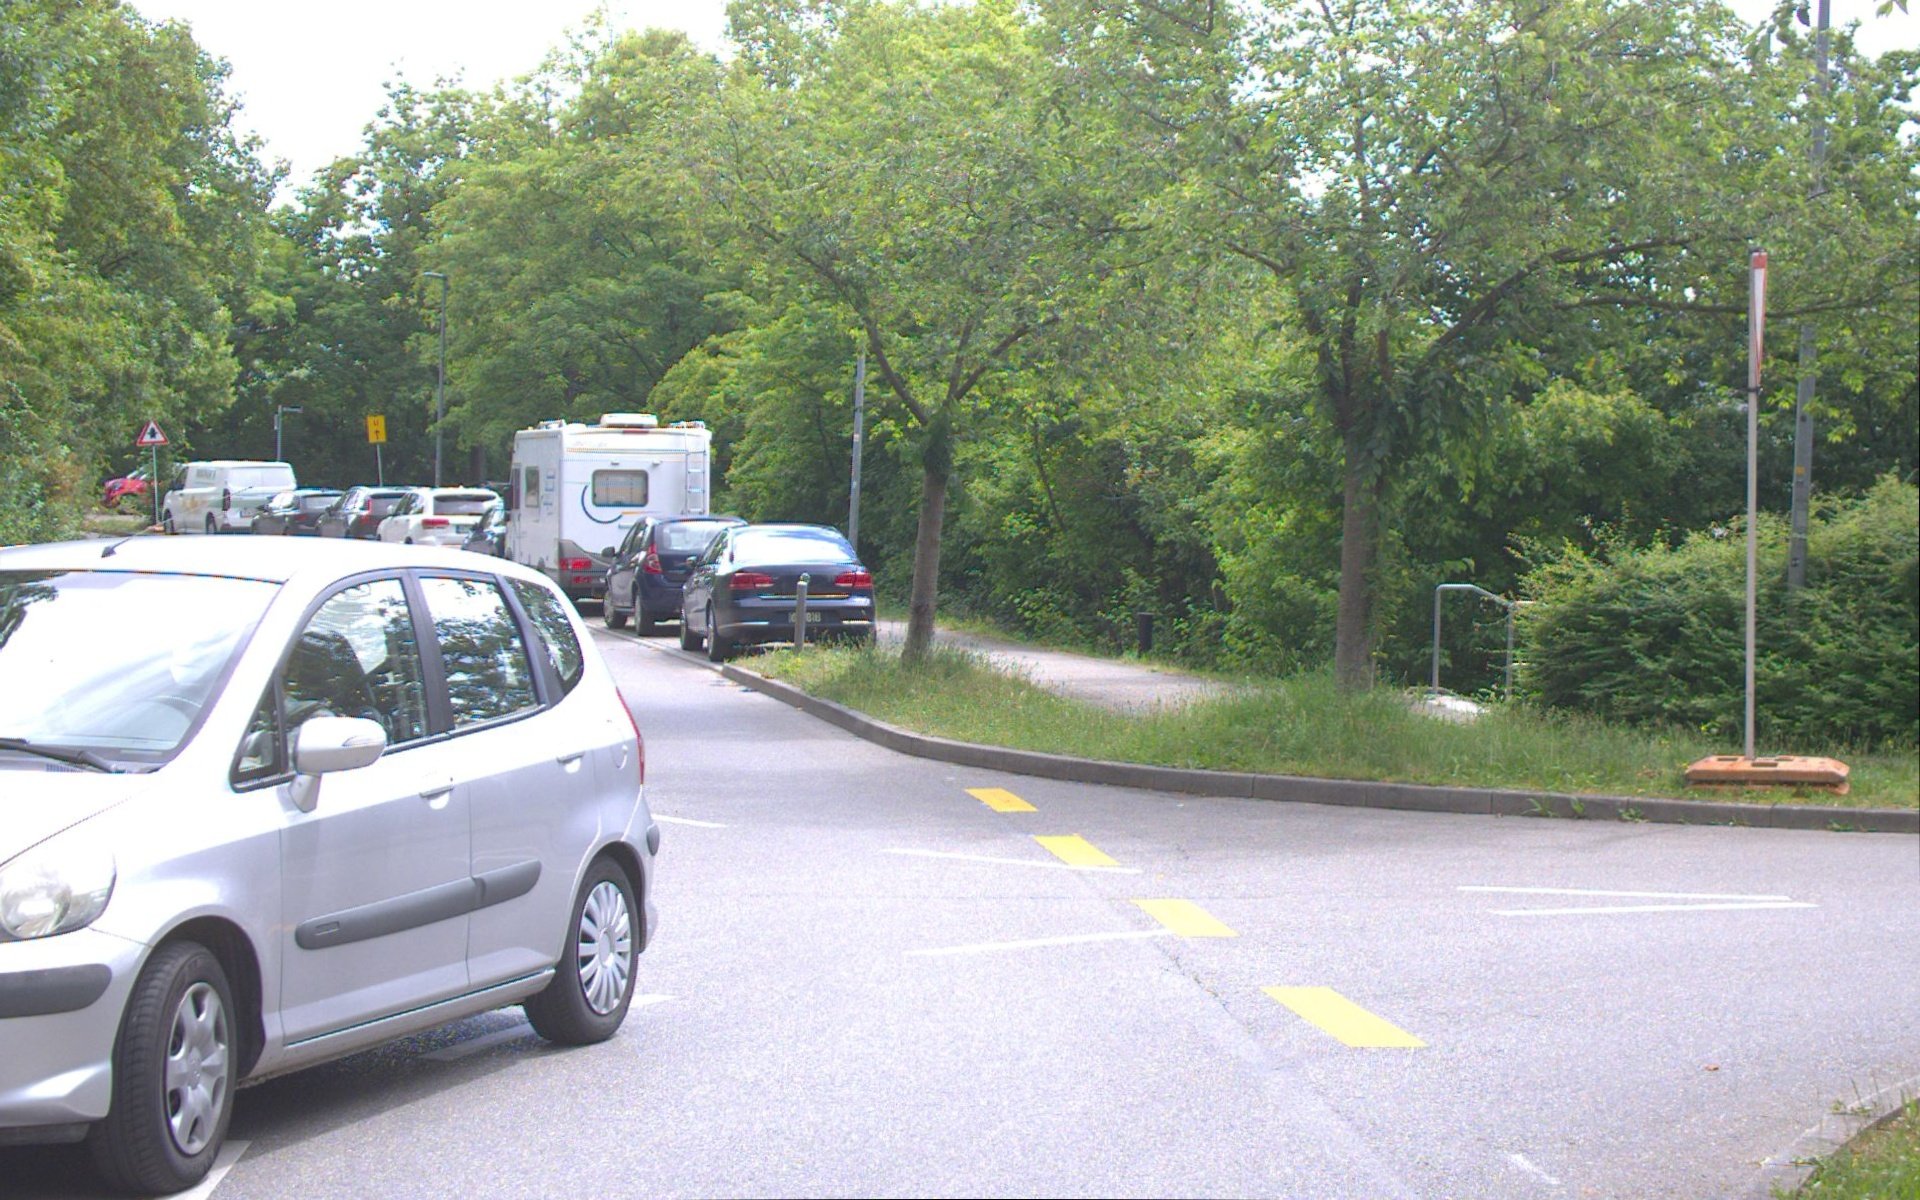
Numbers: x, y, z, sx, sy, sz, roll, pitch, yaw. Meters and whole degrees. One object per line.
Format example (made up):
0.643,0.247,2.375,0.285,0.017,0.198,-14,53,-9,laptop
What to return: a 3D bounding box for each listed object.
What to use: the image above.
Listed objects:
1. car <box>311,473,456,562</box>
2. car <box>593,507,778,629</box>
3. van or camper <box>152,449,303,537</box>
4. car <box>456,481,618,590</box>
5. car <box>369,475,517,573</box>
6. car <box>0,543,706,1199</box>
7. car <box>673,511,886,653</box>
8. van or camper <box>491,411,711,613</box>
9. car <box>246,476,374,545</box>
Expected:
-11.873,-1.722,70.632,1.993,1.620,4.280,-3,4,-22,car
-3.646,-0.438,45.116,1.728,1.514,3.890,-1,1,-15,car
-17.504,-2.580,81.996,1.993,1.913,5.267,-2,4,-30,van or camper
-7.211,-1.123,58.342,1.710,1.585,4.002,-7,5,-20,car
-9.826,-1.470,65.069,1.871,1.683,4.581,1,3,-20,car
-2.252,0.580,9.168,1.843,1.451,3.649,1,1,19,car
-2.055,-0.246,38.078,1.775,1.429,4.335,0,2,-11,car
-5.565,-1.370,52.513,2.332,2.859,6.153,1,2,-15,van or camper
-14.550,-2.023,76.823,1.797,1.459,4.001,-1,3,-26,car
